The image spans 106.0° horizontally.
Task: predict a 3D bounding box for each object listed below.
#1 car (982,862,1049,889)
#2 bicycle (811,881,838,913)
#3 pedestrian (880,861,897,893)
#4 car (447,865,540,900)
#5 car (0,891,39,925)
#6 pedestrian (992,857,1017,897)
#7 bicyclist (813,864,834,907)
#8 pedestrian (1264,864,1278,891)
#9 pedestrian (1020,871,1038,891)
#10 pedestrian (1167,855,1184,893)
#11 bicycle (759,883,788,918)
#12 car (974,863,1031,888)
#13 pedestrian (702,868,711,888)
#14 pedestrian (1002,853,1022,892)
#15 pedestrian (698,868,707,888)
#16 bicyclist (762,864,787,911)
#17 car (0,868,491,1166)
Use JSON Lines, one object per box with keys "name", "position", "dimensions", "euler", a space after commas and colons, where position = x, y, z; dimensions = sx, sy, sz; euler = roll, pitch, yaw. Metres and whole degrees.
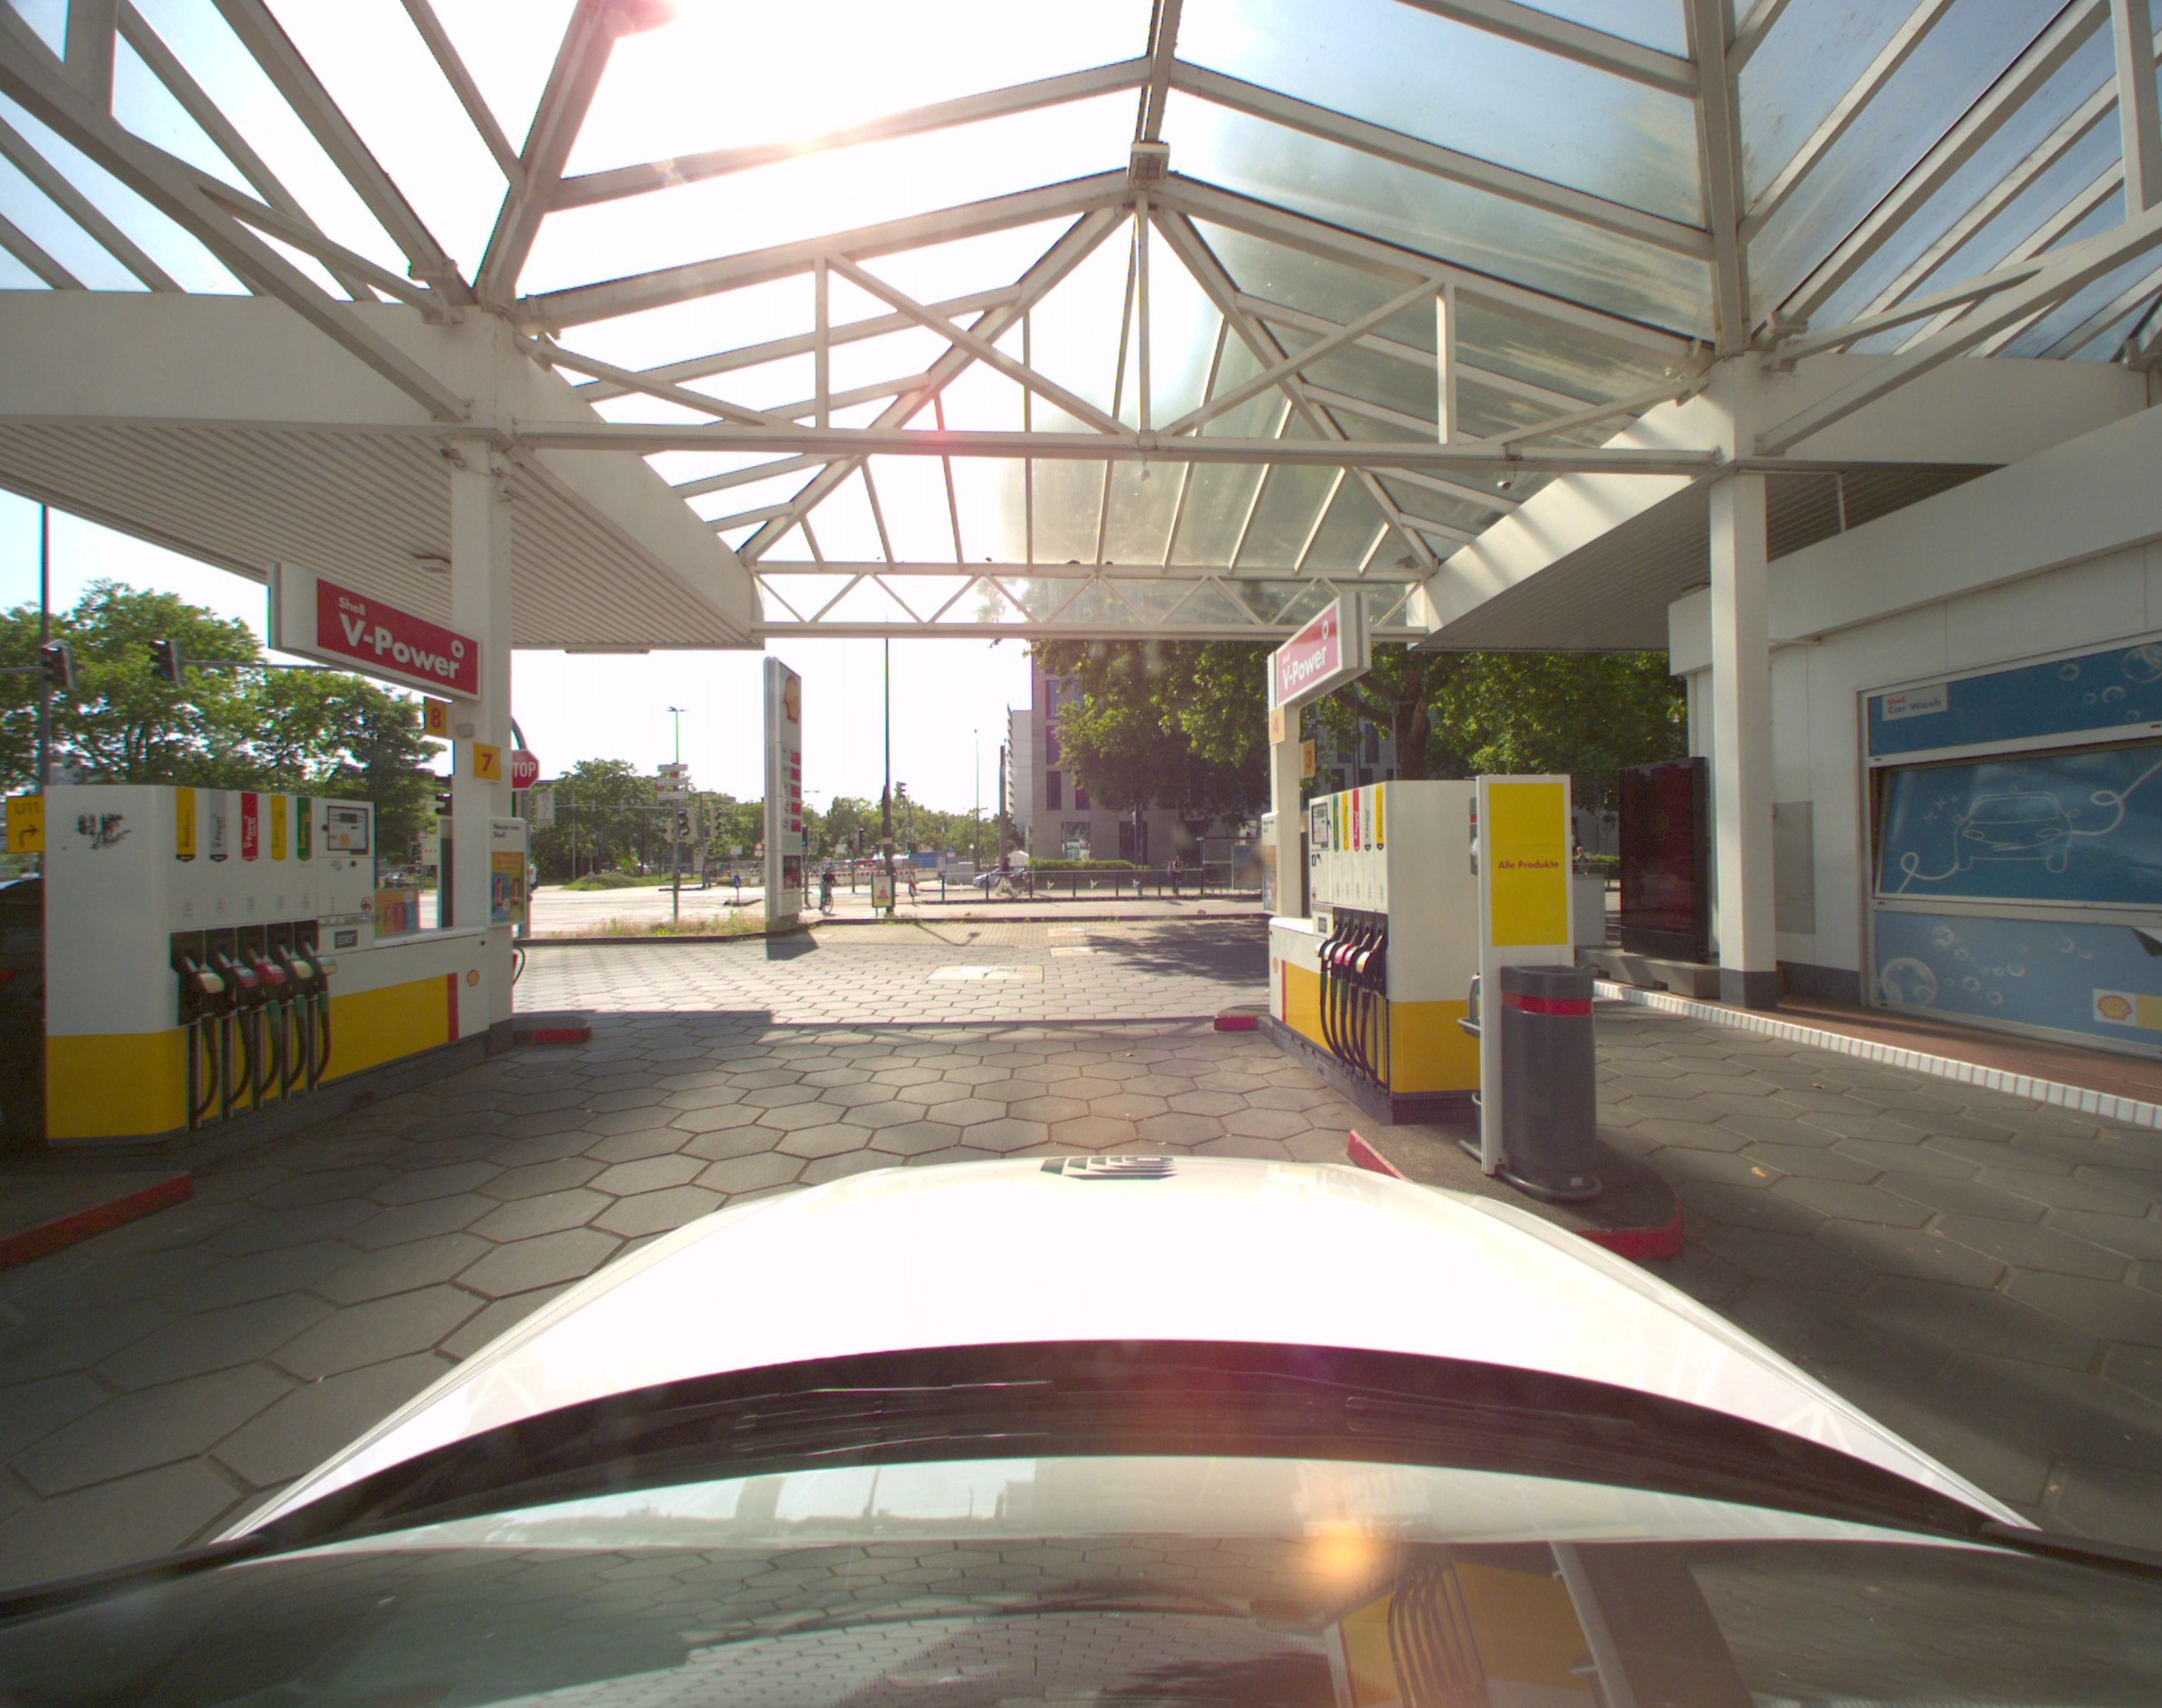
{"name": "car", "position": [-4.072, 1.301, 50.217], "dimensions": [3.986, 1.552, 1.698], "euler": [-1, -1, -9]}
{"name": "bicycle", "position": [-9.298, 1.547, 29.480], "dimensions": [0.526, 1.082, 1.849], "euler": [0, -1, -31]}
{"name": "pedestrian", "position": [-9.346, 1.131, 39.590], "dimensions": [0.647, 1.540, 0.504], "euler": [-1, -1, 5]}
{"name": "car", "position": [-38.165, 1.805, 53.010], "dimensions": [1.974, 2.014, 4.474], "euler": [-3, -1, 28]}
{"name": "car", "position": [-61.037, 3.066, 44.861], "dimensions": [4.197, 1.805, 1.993], "euler": [-3, -1, -10]}
{"name": "pedestrian", "position": [-3.226, 0.965, 34.393], "dimensions": [0.927, 1.683, 0.504], "euler": [-1, -1, 5]}
{"name": "bicyclist", "position": [-9.319, 1.127, 29.480], "dimensions": [0.536, 1.544, 0.857], "euler": [0, -1, -30]}
{"name": "pedestrian", "position": [8.117, 1.021, 34.804], "dimensions": [0.497, 1.138, 0.524], "euler": [-1, -1, 3]}
{"name": "pedestrian", "position": [-2.270, 1.173, 35.368], "dimensions": [0.687, 0.880, 0.504], "euler": [-1, -1, 5]}
{"name": "pedestrian", "position": [3.975, 0.830, 34.309], "dimensions": [0.583, 1.591, 0.669], "euler": [-1, 1, -4]}
{"name": "bicycle", "position": [-10.647, 1.592, 28.245], "dimensions": [0.638, 1.082, 2.017], "euler": [0, -1, -12]}
{"name": "car", "position": [-5.191, 1.394, 53.518], "dimensions": [3.681, 1.552, 1.587], "euler": [-1, -1, -9]}
{"name": "pedestrian", "position": [-27.394, 1.740, 59.592], "dimensions": [0.566, 1.469, 0.509], "euler": [0, -1, -28]}
{"name": "pedestrian", "position": [-3.007, 0.791, 35.426], "dimensions": [0.773, 1.683, 0.504], "euler": [-1, -1, 5]}
{"name": "pedestrian", "position": [-28.178, 1.761, 60.559], "dimensions": [0.566, 1.469, 0.509], "euler": [0, -1, -28]}
{"name": "bicyclist", "position": [-10.654, 1.155, 28.308], "dimensions": [0.638, 1.580, 1.168], "euler": [0, -1, -13]}
{"name": "car", "position": [-6.556, 0.901, 5.936], "dimensions": [1.740, 1.532, 3.994], "euler": [-2, -1, -4]}
